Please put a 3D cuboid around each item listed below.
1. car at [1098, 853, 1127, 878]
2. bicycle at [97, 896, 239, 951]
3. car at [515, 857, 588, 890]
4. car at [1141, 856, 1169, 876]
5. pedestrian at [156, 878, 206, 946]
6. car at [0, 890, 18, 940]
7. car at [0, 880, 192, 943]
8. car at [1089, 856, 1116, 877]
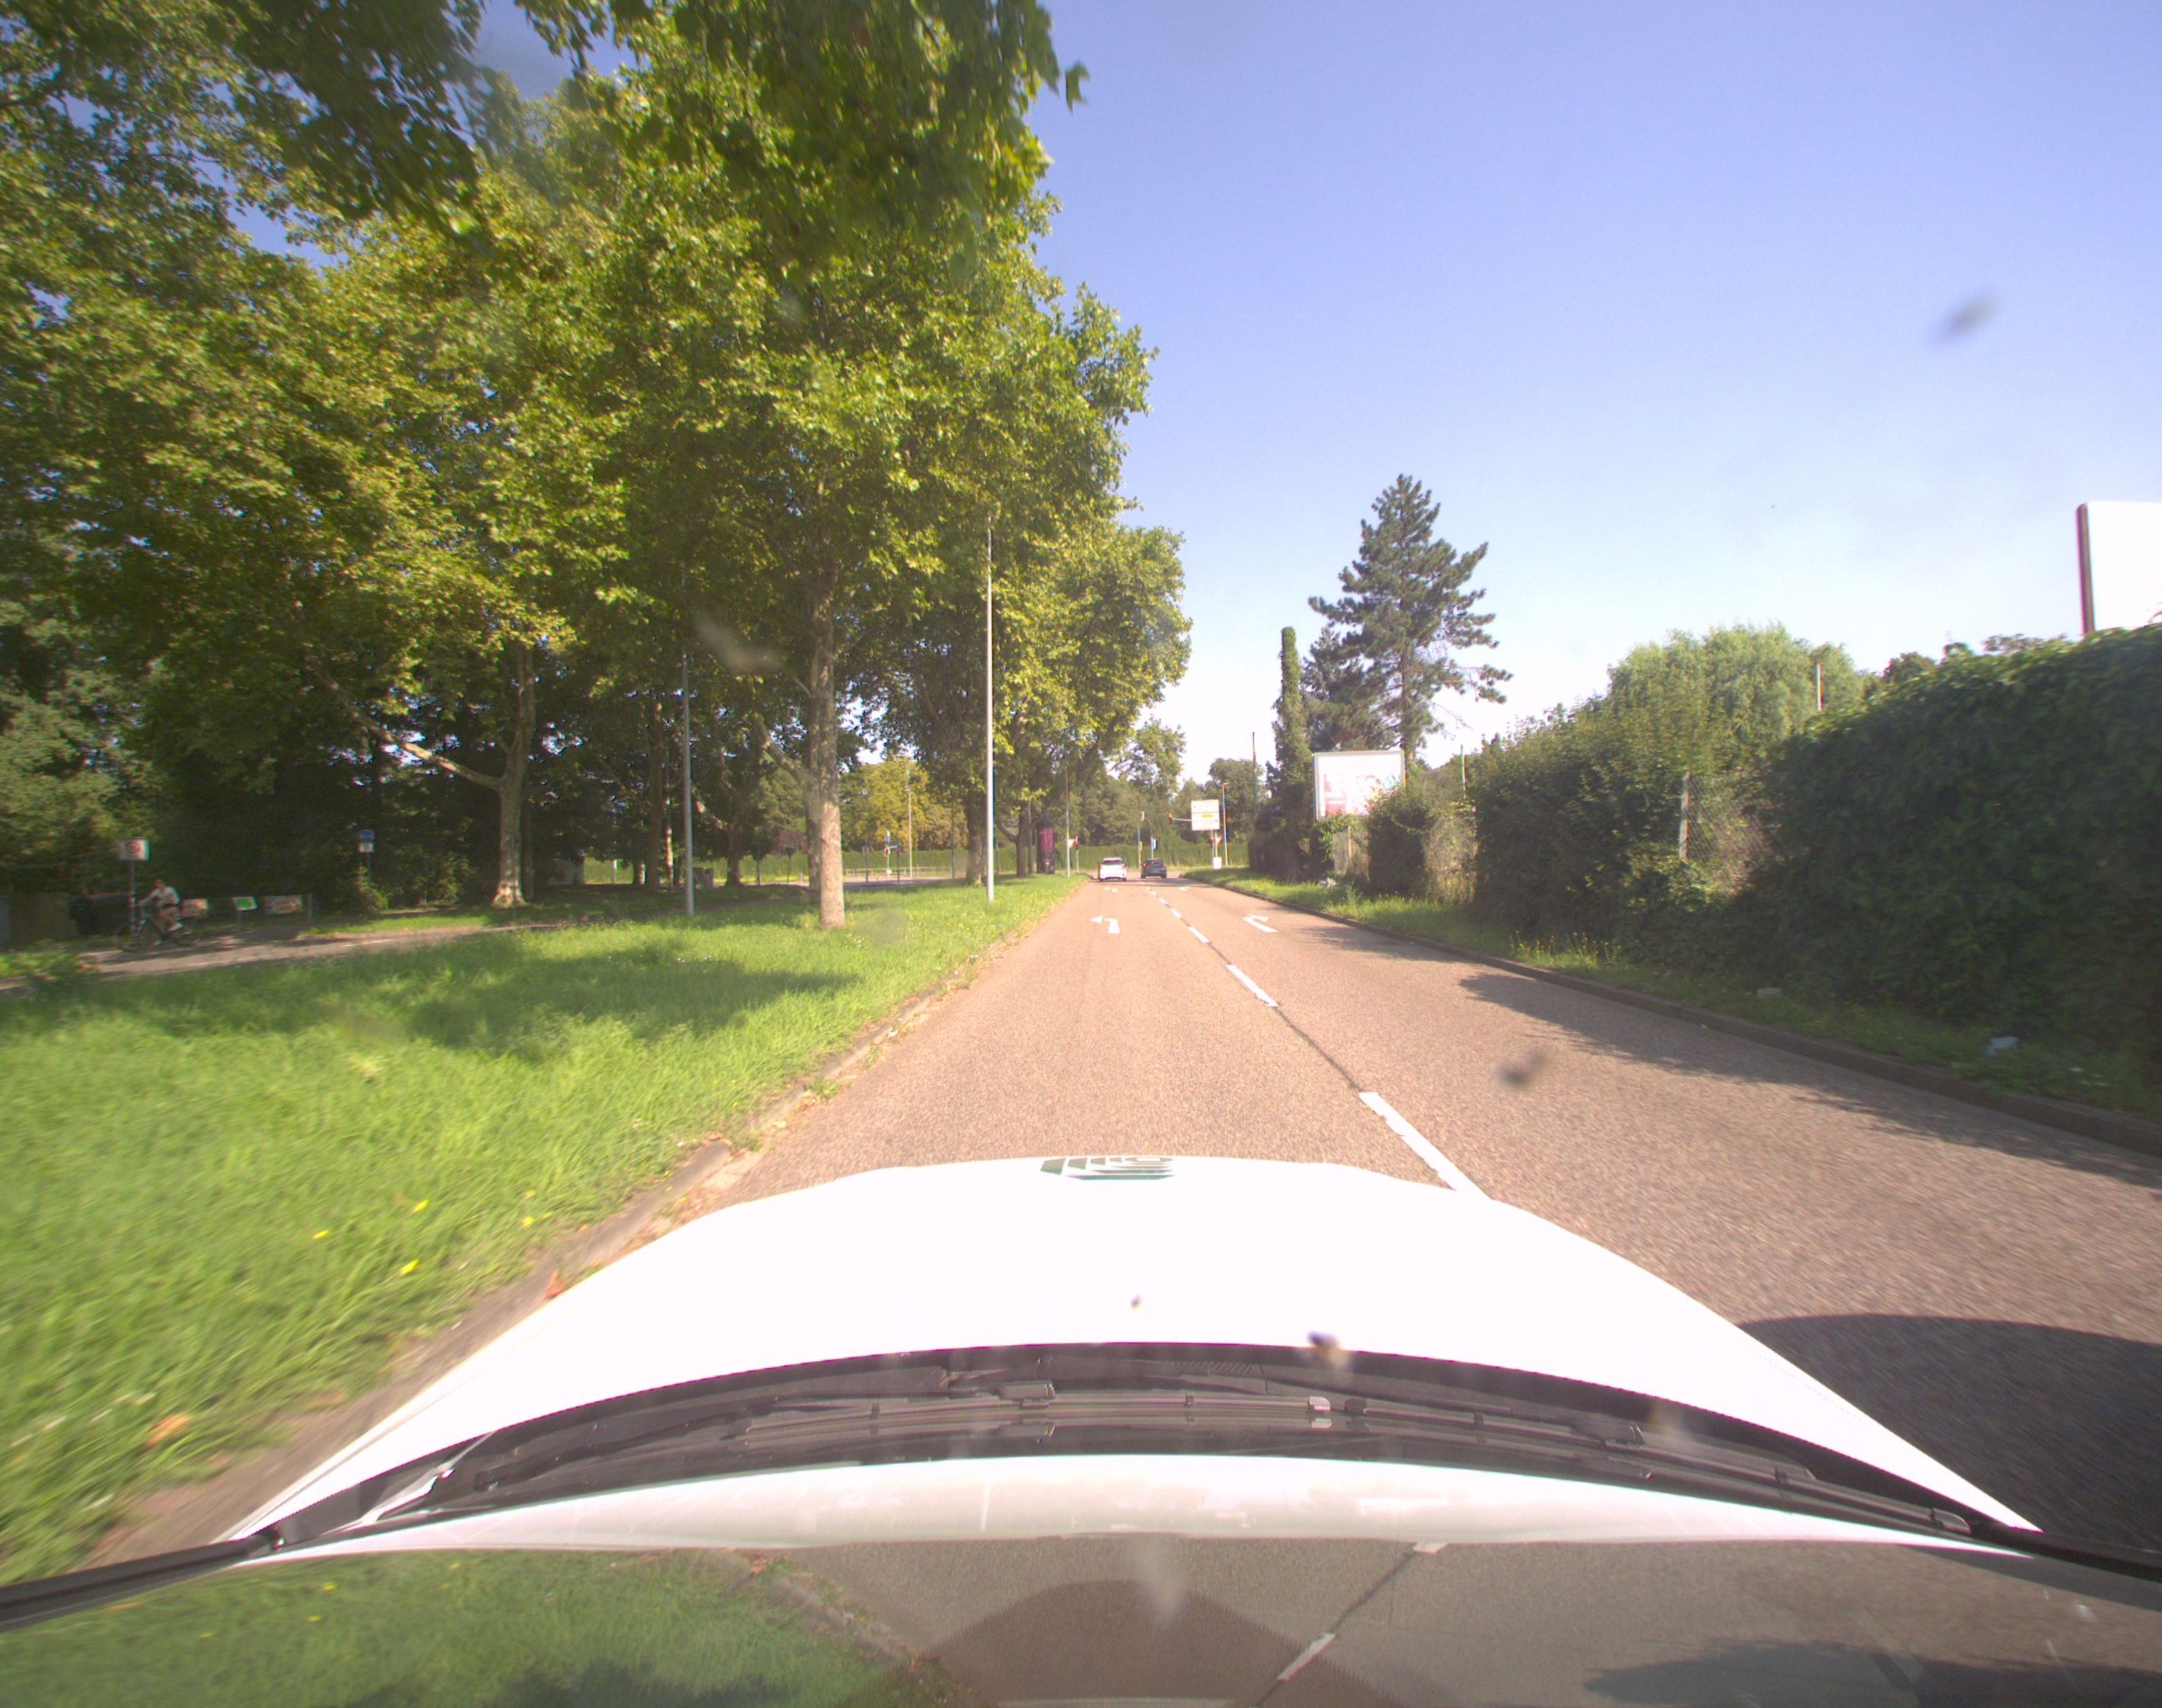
[{"bbox_3d":[2.035,0.739,51.848,1.680,1.462,4.004,-1,-1,4],"label":"car"},{"bbox_3d":[-23.303,1.743,20.893,0.542,1.199,2.760,-1,-1,-1],"label":"bicycle"},{"bbox_3d":[-37.444,1.334,57.770,2.173,2.137,4.706,-2,0,-2],"label":"car"},{"bbox_3d":[5.449,0.858,60.470,1.791,1.401,4.002,-1,-1,2],"label":"car"},{"bbox_3d":[-23.032,1.474,20.848,0.541,1.690,0.658,-1,-1,-1],"label":"pedestrian"},{"bbox_3d":[-38.322,2.115,26.616,1.687,1.726,4.009,-1,-1,8],"label":"car"},{"bbox_3d":[-31.895,1.761,26.102,1.687,1.726,4.398,-1,-1,8],"label":"car"},{"bbox_3d":[1.623,0.902,60.400,1.678,1.462,3.857,-1,-1,7],"label":"car"}]
